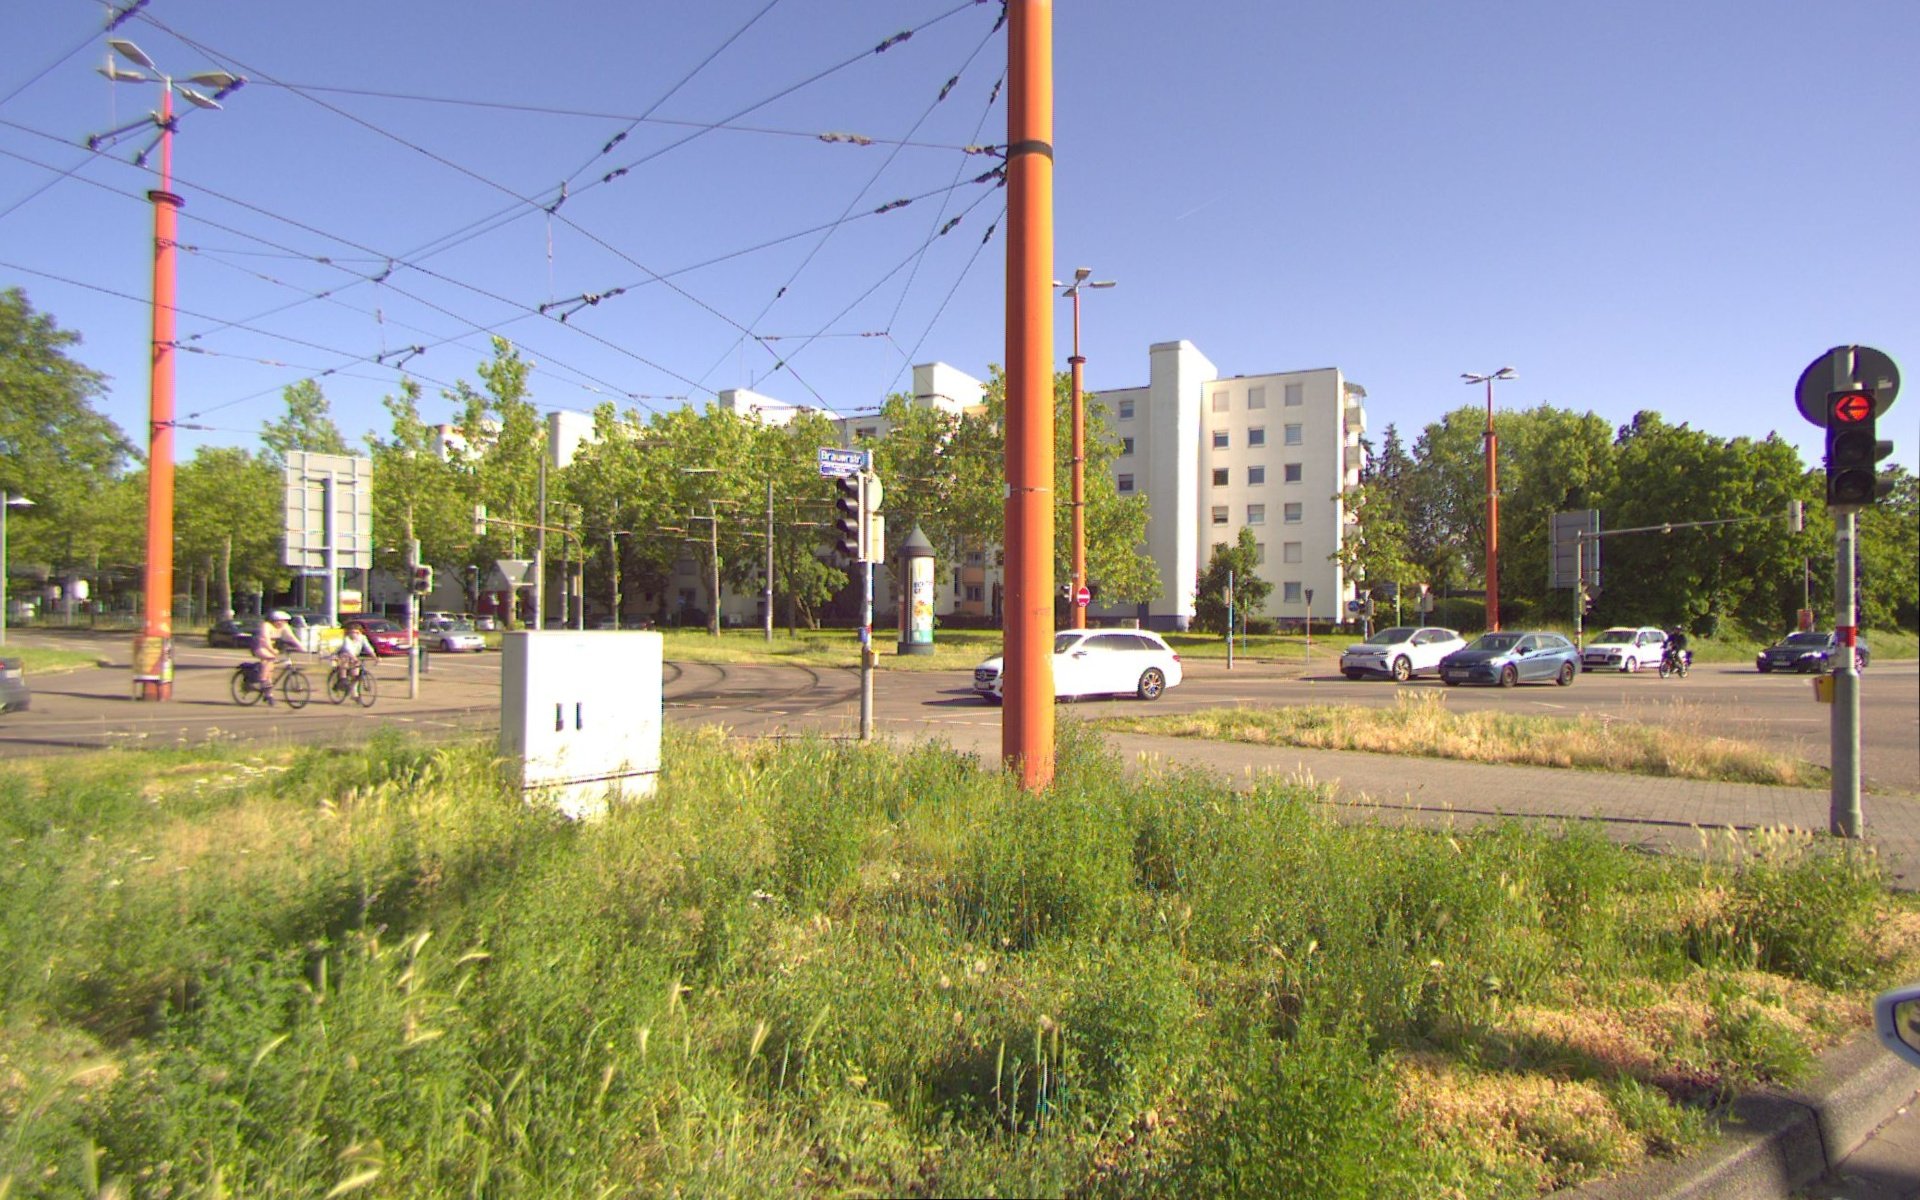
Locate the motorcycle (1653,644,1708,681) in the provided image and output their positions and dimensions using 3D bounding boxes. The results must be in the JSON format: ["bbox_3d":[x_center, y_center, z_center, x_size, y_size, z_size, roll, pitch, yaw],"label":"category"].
[{"bbox_3d":[23.257,2.009,32.421,2.065,1.146,0.420,2,0,-23],"label":"motorcycle"}]

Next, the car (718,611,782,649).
[{"bbox_3d":[-13.711,1.957,65.452,3.935,2.341,1.889,2,0,-16],"label":"car"}]

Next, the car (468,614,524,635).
[{"bbox_3d":[-38.695,2.032,83.816,3.935,1.617,1.889,2,0,-16],"label":"car"}]

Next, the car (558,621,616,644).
[{"bbox_3d":[-28.154,2.441,75.880,3.935,1.617,1.889,2,0,-16],"label":"car"}]

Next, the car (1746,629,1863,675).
[{"bbox_3d":[30.546,1.858,36.297,4.553,1.505,1.866,2,-1,-31],"label":"car"}]

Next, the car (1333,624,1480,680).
[{"bbox_3d":[13.723,1.578,30.825,4.382,1.622,1.831,2,-2,-28],"label":"car"}]

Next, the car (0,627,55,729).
[{"bbox_3d":[-15.988,1.082,14.203,4.347,1.392,1.985,2,-1,-29],"label":"car"}]

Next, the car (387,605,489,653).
[{"bbox_3d":[-22.778,1.247,43.778,4.199,1.926,1.996,1,0,30],"label":"car"}]

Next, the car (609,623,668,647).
[{"bbox_3d":[-23.152,2.537,72.513,3.935,1.617,1.889,2,0,-16],"label":"car"}]

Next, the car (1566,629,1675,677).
[{"bbox_3d":[24.769,1.969,37.669,4.011,1.730,1.793,2,-2,-30],"label":"car"}]

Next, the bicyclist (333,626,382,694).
[{"bbox_3d":[-12.198,1.200,20.340,0.687,1.340,0.548,1,0,29],"label":"bicyclist"}]

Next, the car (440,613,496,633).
[{"bbox_3d":[-41.921,1.967,85.651,3.935,1.617,1.889,2,0,-16],"label":"car"}]

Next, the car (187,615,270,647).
[{"bbox_3d":[-34.576,1.454,47.467,3.929,1.339,1.732,1,0,30],"label":"car"}]

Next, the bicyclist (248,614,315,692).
[{"bbox_3d":[-13.086,1.003,19.388,0.742,1.449,0.752,1,0,14],"label":"bicyclist"}]

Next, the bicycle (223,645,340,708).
[{"bbox_3d":[-13.115,1.459,19.409,2.313,1.095,0.474,1,0,16],"label":"bicycle"}]

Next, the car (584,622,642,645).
[{"bbox_3d":[-25.669,2.491,74.455,3.935,1.617,1.889,2,0,-16],"label":"car"}]

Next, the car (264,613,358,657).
[{"bbox_3d":[-28.898,1.530,44.712,3.929,1.773,1.909,1,0,30],"label":"car"}]

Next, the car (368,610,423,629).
[{"bbox_3d":[-51.237,1.783,91.252,3.935,1.617,1.889,2,0,-16],"label":"car"}]

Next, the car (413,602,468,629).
[{"bbox_3d":[-40.342,1.236,77.956,4.333,2.040,1.994,0,-1,34],"label":"car"}]

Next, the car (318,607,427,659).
[{"bbox_3d":[-23.811,1.297,40.709,4.199,1.926,1.996,1,0,30],"label":"car"}]

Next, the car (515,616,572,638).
[{"bbox_3d":[-32.929,2.139,79.541,3.935,1.617,1.889,2,0,-16],"label":"car"}]

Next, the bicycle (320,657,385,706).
[{"bbox_3d":[-12.369,1.646,20.451,1.596,0.894,0.368,1,0,29],"label":"bicycle"}]

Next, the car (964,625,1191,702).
[{"bbox_3d":[2.474,1.269,20.736,4.588,1.441,1.696,1,-2,-30],"label":"car"}]

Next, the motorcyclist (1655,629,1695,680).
[{"bbox_3d":[23.041,1.746,32.365,0.631,1.621,0.833,1,0,-22],"label":"motorcyclist"}]

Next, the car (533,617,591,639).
[{"bbox_3d":[-30.826,2.177,77.927,3.935,1.617,1.889,2,0,-16],"label":"car"}]

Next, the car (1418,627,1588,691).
[{"bbox_3d":[14.815,1.565,27.377,4.408,1.615,1.986,1,-2,-28],"label":"car"}]
